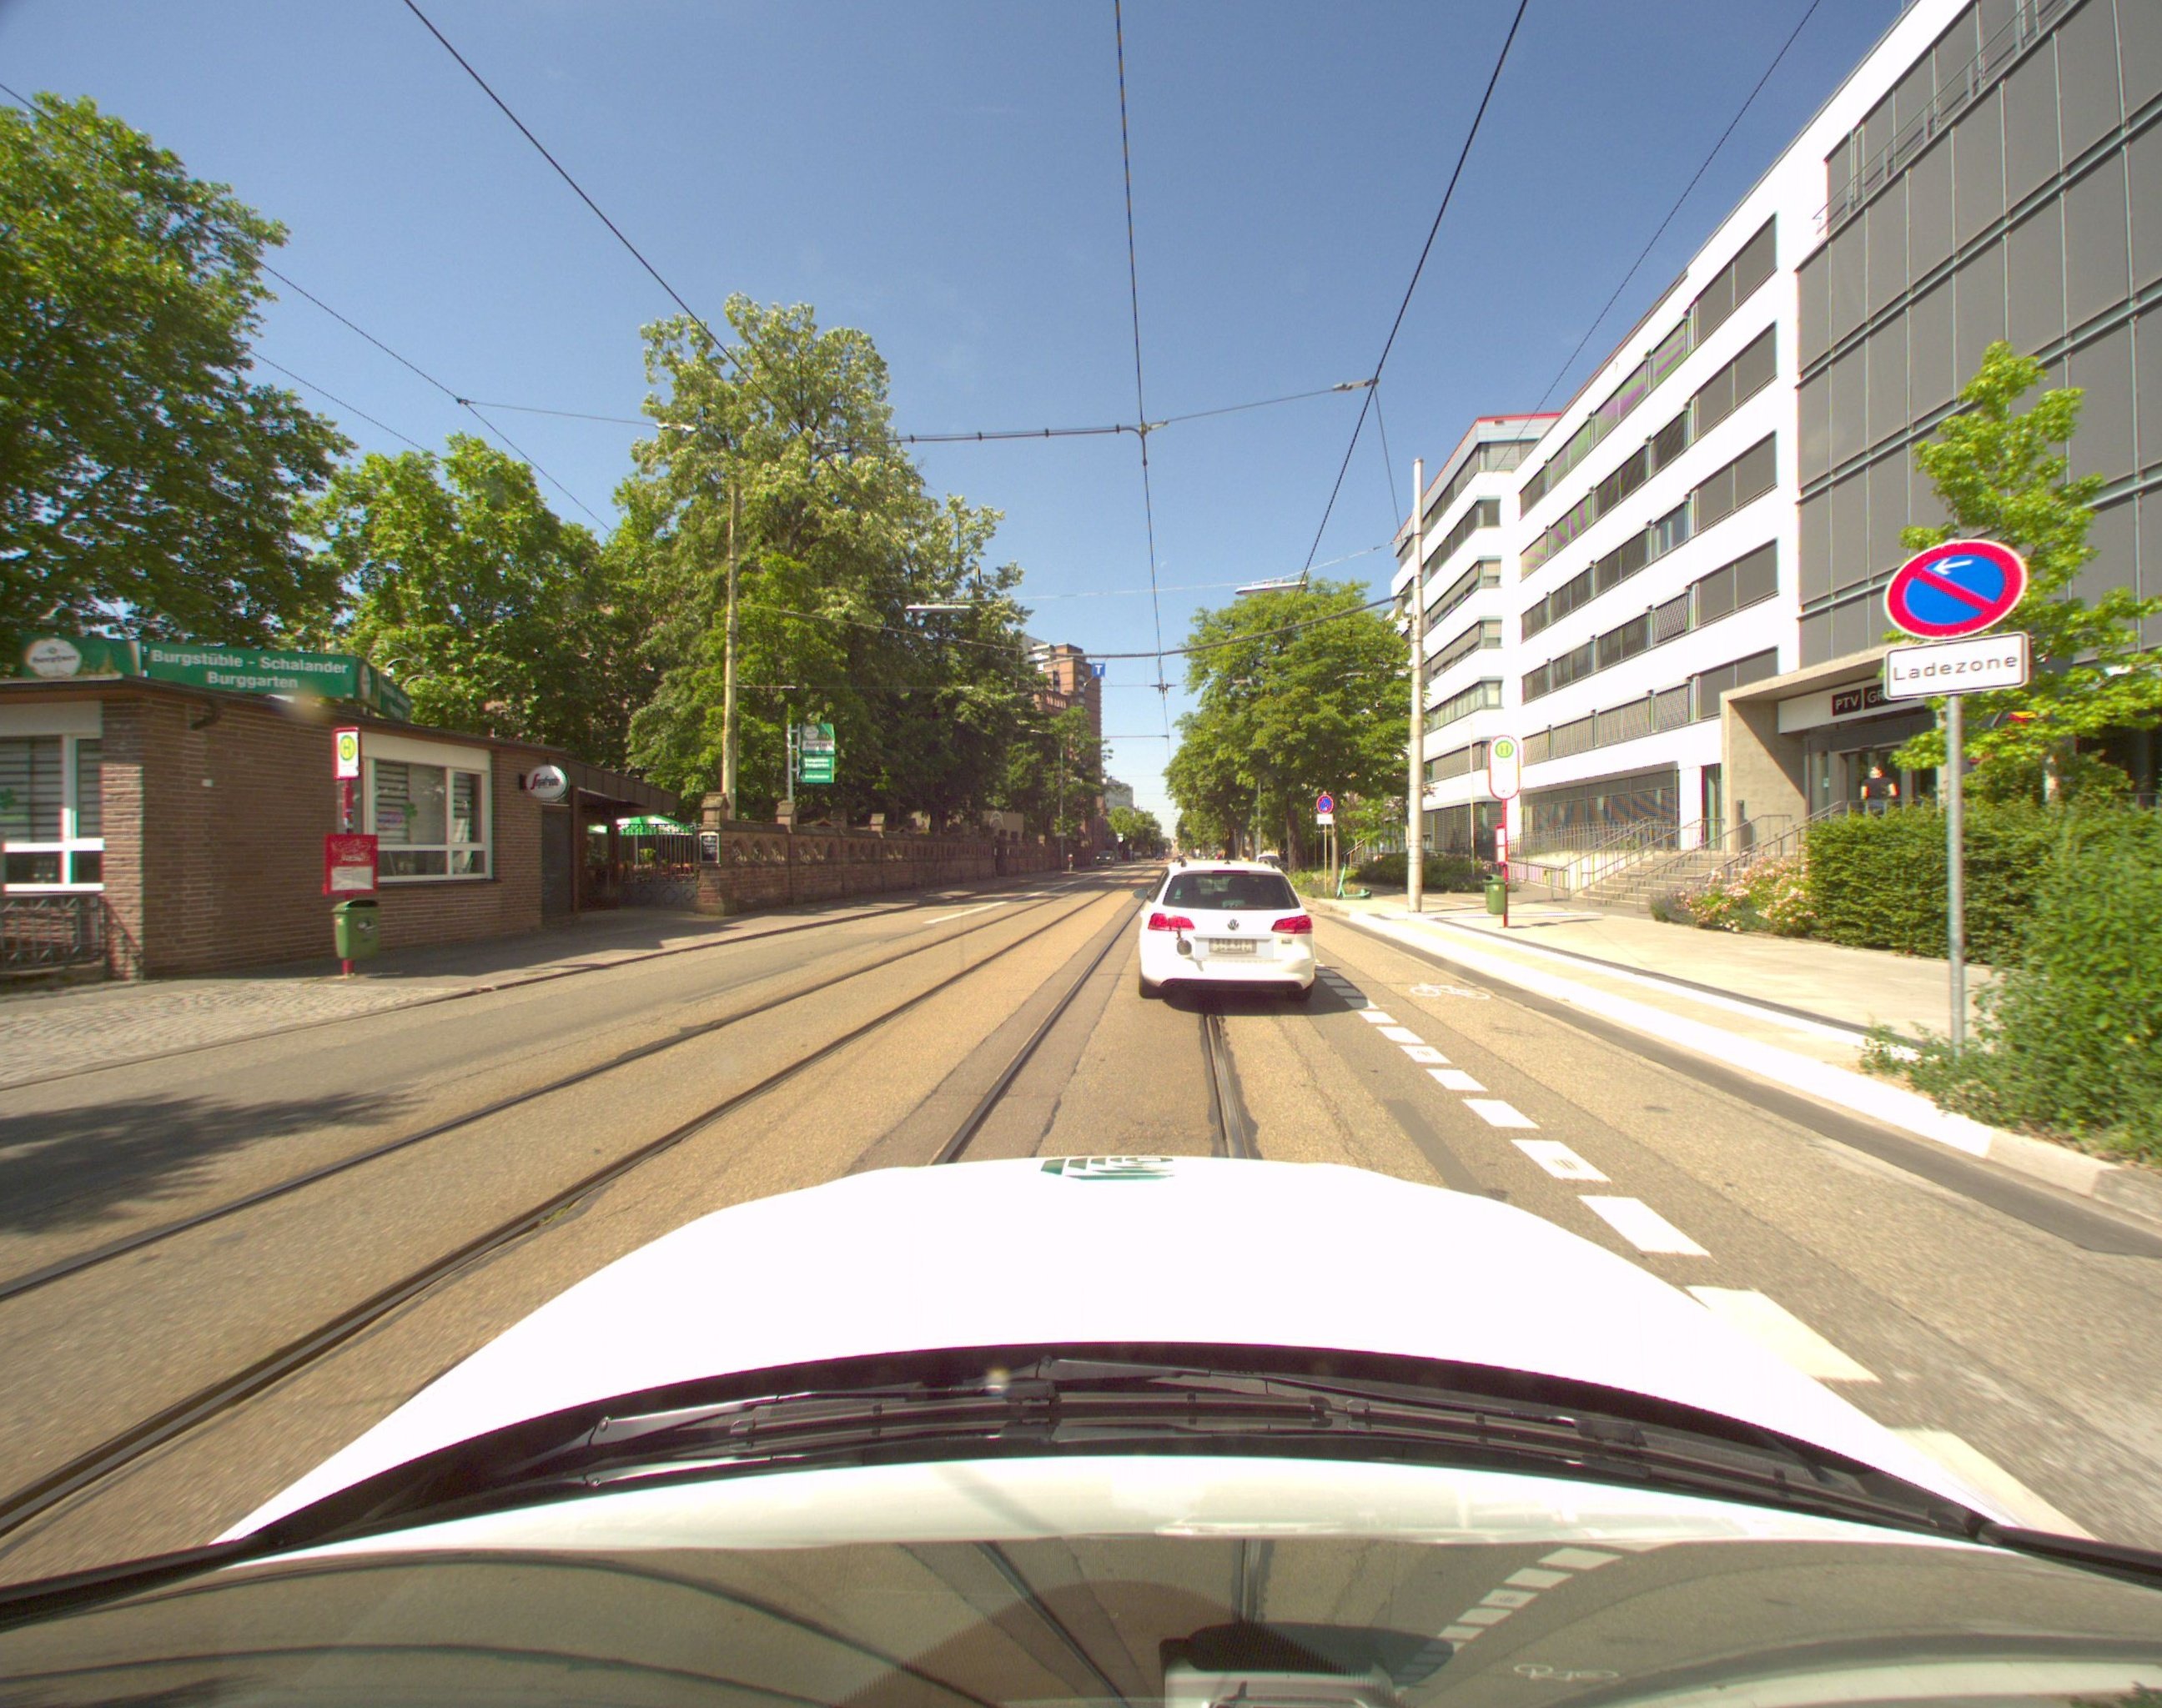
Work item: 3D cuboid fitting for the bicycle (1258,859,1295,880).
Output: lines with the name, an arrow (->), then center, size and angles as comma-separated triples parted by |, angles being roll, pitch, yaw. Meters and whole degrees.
bicycle -> 10.882, 0.882, 45.359 | 1.903, 1.083, 0.551 | 2, 0, 4

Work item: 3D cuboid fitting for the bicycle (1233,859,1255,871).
bicycle -> 13.633, 0.919, 68.127 | 1.780, 1.010, 0.488 | -1, 0, 2

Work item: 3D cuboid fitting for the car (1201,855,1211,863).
car -> 23.052, 0.904, 150.421 | 1.704, 1.401, 3.851 | -1, 0, 7

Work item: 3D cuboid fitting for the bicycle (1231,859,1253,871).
bicycle -> 13.705, 0.910, 69.288 | 1.780, 1.010, 0.488 | -1, 0, 2

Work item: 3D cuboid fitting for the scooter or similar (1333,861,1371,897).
scooter or similar -> 8.739, 0.803, 26.290 | 1.135, 1.154, 0.495 | 0, 0, 12

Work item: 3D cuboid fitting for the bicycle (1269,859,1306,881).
bicycle -> 10.869, 0.857, 42.880 | 1.766, 1.120, 0.597 | -1, 0, 4

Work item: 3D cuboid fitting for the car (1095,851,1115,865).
car -> 3.292, 0.511, 111.037 | 1.981, 1.757, 4.724 | -1, 0, 9

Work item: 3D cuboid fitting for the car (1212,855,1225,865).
car -> 18.650, 0.804, 110.813 | 1.703, 1.401, 3.852 | -1, 0, 9

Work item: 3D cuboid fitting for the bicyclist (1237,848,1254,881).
bicyclist -> 8.101, 0.507, 40.126 | 0.781, 1.629, 0.739 | -1, 0, 7

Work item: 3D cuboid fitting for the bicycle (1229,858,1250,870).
bicycle -> 13.830, 0.897, 71.081 | 1.780, 1.010, 0.488 | -1, 0, 2

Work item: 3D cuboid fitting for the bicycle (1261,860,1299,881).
bicycle -> 10.796, 0.881, 44.146 | 1.903, 1.083, 0.551 | 1, 0, 4

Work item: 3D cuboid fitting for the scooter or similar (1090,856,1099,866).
scooter or similar -> 1.563, 0.786, 95.057 | 0.400, 1.155, 1.150 | -1, 0, 41

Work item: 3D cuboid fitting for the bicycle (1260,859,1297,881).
bicycle -> 10.829, 0.875, 44.747 | 1.903, 1.083, 0.551 | 2, 0, 4

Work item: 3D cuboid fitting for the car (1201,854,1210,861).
car -> 26.789, 0.689, 175.238 | 1.704, 1.401, 3.851 | -1, 0, 8

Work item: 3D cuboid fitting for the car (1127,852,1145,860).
car -> 13.786, 0.464, 203.012 | 4.011, 1.816, 1.981 | -1, 0, -29

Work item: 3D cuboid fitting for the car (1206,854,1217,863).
car -> 21.214, 0.743, 132.106 | 1.704, 1.401, 3.851 | -1, 0, 8

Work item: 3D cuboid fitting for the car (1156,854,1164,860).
car -> 16.635, 0.639, 171.800 | 1.485, 1.384, 3.650 | -1, 0, 8

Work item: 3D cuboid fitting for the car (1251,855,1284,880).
car -> 11.398, 0.786, 49.893 | 1.582, 1.451, 3.954 | -1, 0, 8

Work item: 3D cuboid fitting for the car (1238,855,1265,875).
car -> 12.926, 0.808, 61.840 | 1.655, 1.444, 4.643 | -1, 0, 8

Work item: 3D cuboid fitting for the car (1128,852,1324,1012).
car -> 1.560, 0.727, 9.637 | 1.745, 1.442, 4.420 | -1, 0, 6

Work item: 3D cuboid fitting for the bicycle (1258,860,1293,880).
bicycle -> 10.976, 0.897, 45.995 | 1.877, 1.083, 0.551 | 2, 0, 4

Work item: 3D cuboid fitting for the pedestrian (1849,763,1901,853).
pedestrian -> 15.676, -0.895, 16.096 | 0.496, 1.728, 0.548 | 0, 0, 6

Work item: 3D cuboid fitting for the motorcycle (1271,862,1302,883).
motorcycle -> 10.423, 0.925, 41.321 | 1.459, 1.046, 0.535 | -1, 0, 4

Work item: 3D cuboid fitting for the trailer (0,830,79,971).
trailer -> -13.307, 0.506, 8.740 | 3.197, 1.525, 1.782 | 0, 0, 8

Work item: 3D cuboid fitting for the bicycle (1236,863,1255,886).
bicycle -> 8.075, 0.986, 40.065 | 0.806, 1.078, 2.016 | 0, 0, 8

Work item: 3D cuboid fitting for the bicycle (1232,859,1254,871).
bicycle -> 13.679, 0.915, 68.703 | 1.780, 1.010, 0.488 | -1, 0, 2

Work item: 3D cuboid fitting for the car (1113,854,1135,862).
car -> 8.996, 0.743, 169.862 | 4.124, 1.530, 1.923 | 1, 0, -15

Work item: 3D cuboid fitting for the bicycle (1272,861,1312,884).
bicycle -> 10.130, 0.879, 39.184 | 1.766, 1.083, 0.597 | -1, 0, 4
